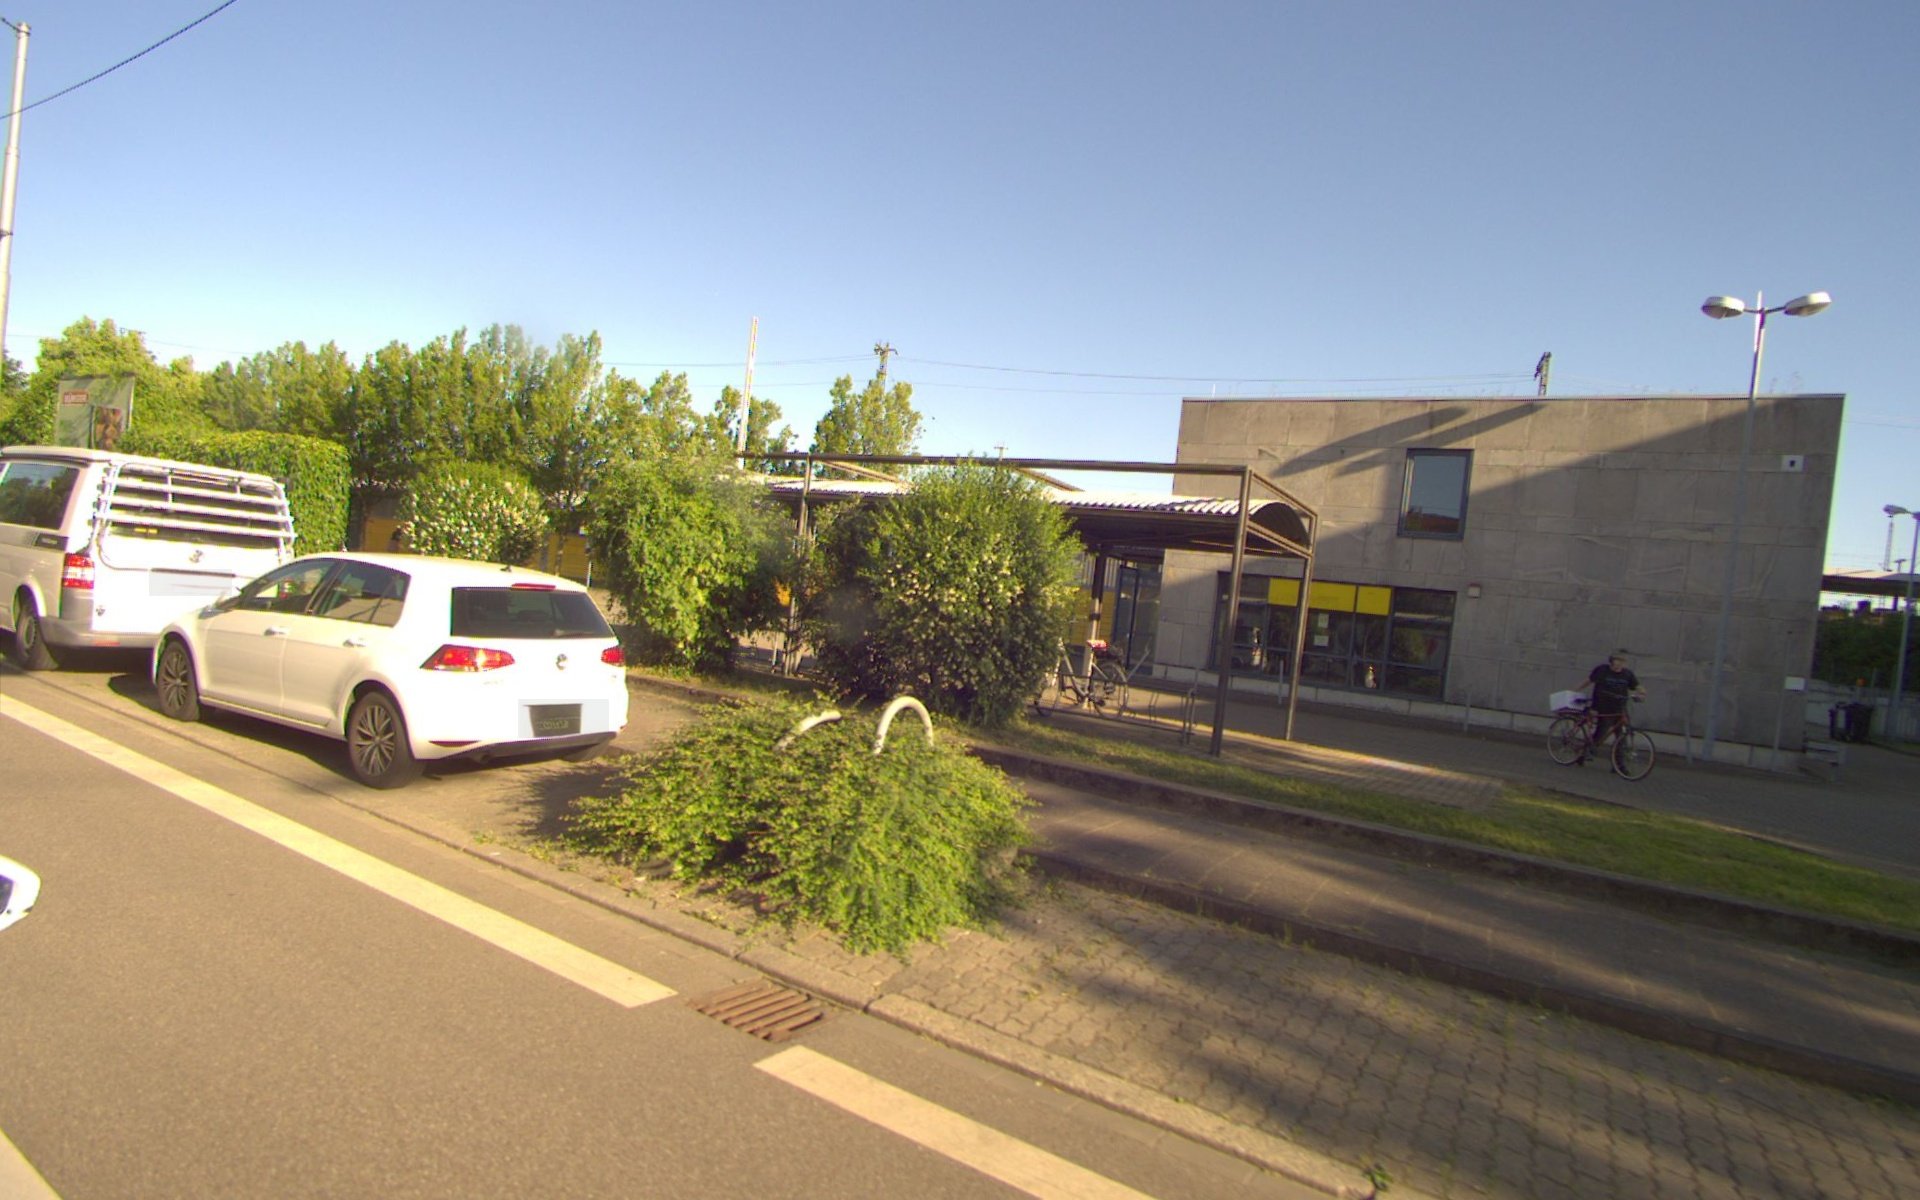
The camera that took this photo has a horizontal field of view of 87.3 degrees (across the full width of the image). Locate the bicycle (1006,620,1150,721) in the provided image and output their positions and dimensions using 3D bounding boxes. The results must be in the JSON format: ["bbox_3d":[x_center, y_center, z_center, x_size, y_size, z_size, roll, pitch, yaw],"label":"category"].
[{"bbox_3d":[1.416,0.848,11.755,0.569,1.020,1.893,6,-1,43],"label":"bicycle"}]

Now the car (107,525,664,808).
[{"bbox_3d":[-4.552,0.342,7.776,4.426,1.436,1.677,6,2,30],"label":"car"}]

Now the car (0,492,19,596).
[{"bbox_3d":[-16.049,-1.061,15.085,4.009,1.490,1.875,6,-1,33],"label":"car"}]

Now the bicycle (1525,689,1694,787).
[{"bbox_3d":[9.339,1.954,14.570,0.742,1.084,2.005,7,-1,-14],"label":"bicycle"}]

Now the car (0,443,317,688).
[{"bbox_3d":[-9.013,-0.448,10.486,5.157,2.016,1.855,6,1,33],"label":"car"}]

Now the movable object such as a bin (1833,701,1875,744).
[{"bbox_3d":[29.975,4.098,33.739,0.767,1.295,0.902,6,0,31],"label":"movable object such as a bin"}]

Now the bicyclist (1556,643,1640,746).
[{"bbox_3d":[9.360,1.378,14.770,0.719,1.401,0.580,7,0,-15],"label":"bicyclist"}]
